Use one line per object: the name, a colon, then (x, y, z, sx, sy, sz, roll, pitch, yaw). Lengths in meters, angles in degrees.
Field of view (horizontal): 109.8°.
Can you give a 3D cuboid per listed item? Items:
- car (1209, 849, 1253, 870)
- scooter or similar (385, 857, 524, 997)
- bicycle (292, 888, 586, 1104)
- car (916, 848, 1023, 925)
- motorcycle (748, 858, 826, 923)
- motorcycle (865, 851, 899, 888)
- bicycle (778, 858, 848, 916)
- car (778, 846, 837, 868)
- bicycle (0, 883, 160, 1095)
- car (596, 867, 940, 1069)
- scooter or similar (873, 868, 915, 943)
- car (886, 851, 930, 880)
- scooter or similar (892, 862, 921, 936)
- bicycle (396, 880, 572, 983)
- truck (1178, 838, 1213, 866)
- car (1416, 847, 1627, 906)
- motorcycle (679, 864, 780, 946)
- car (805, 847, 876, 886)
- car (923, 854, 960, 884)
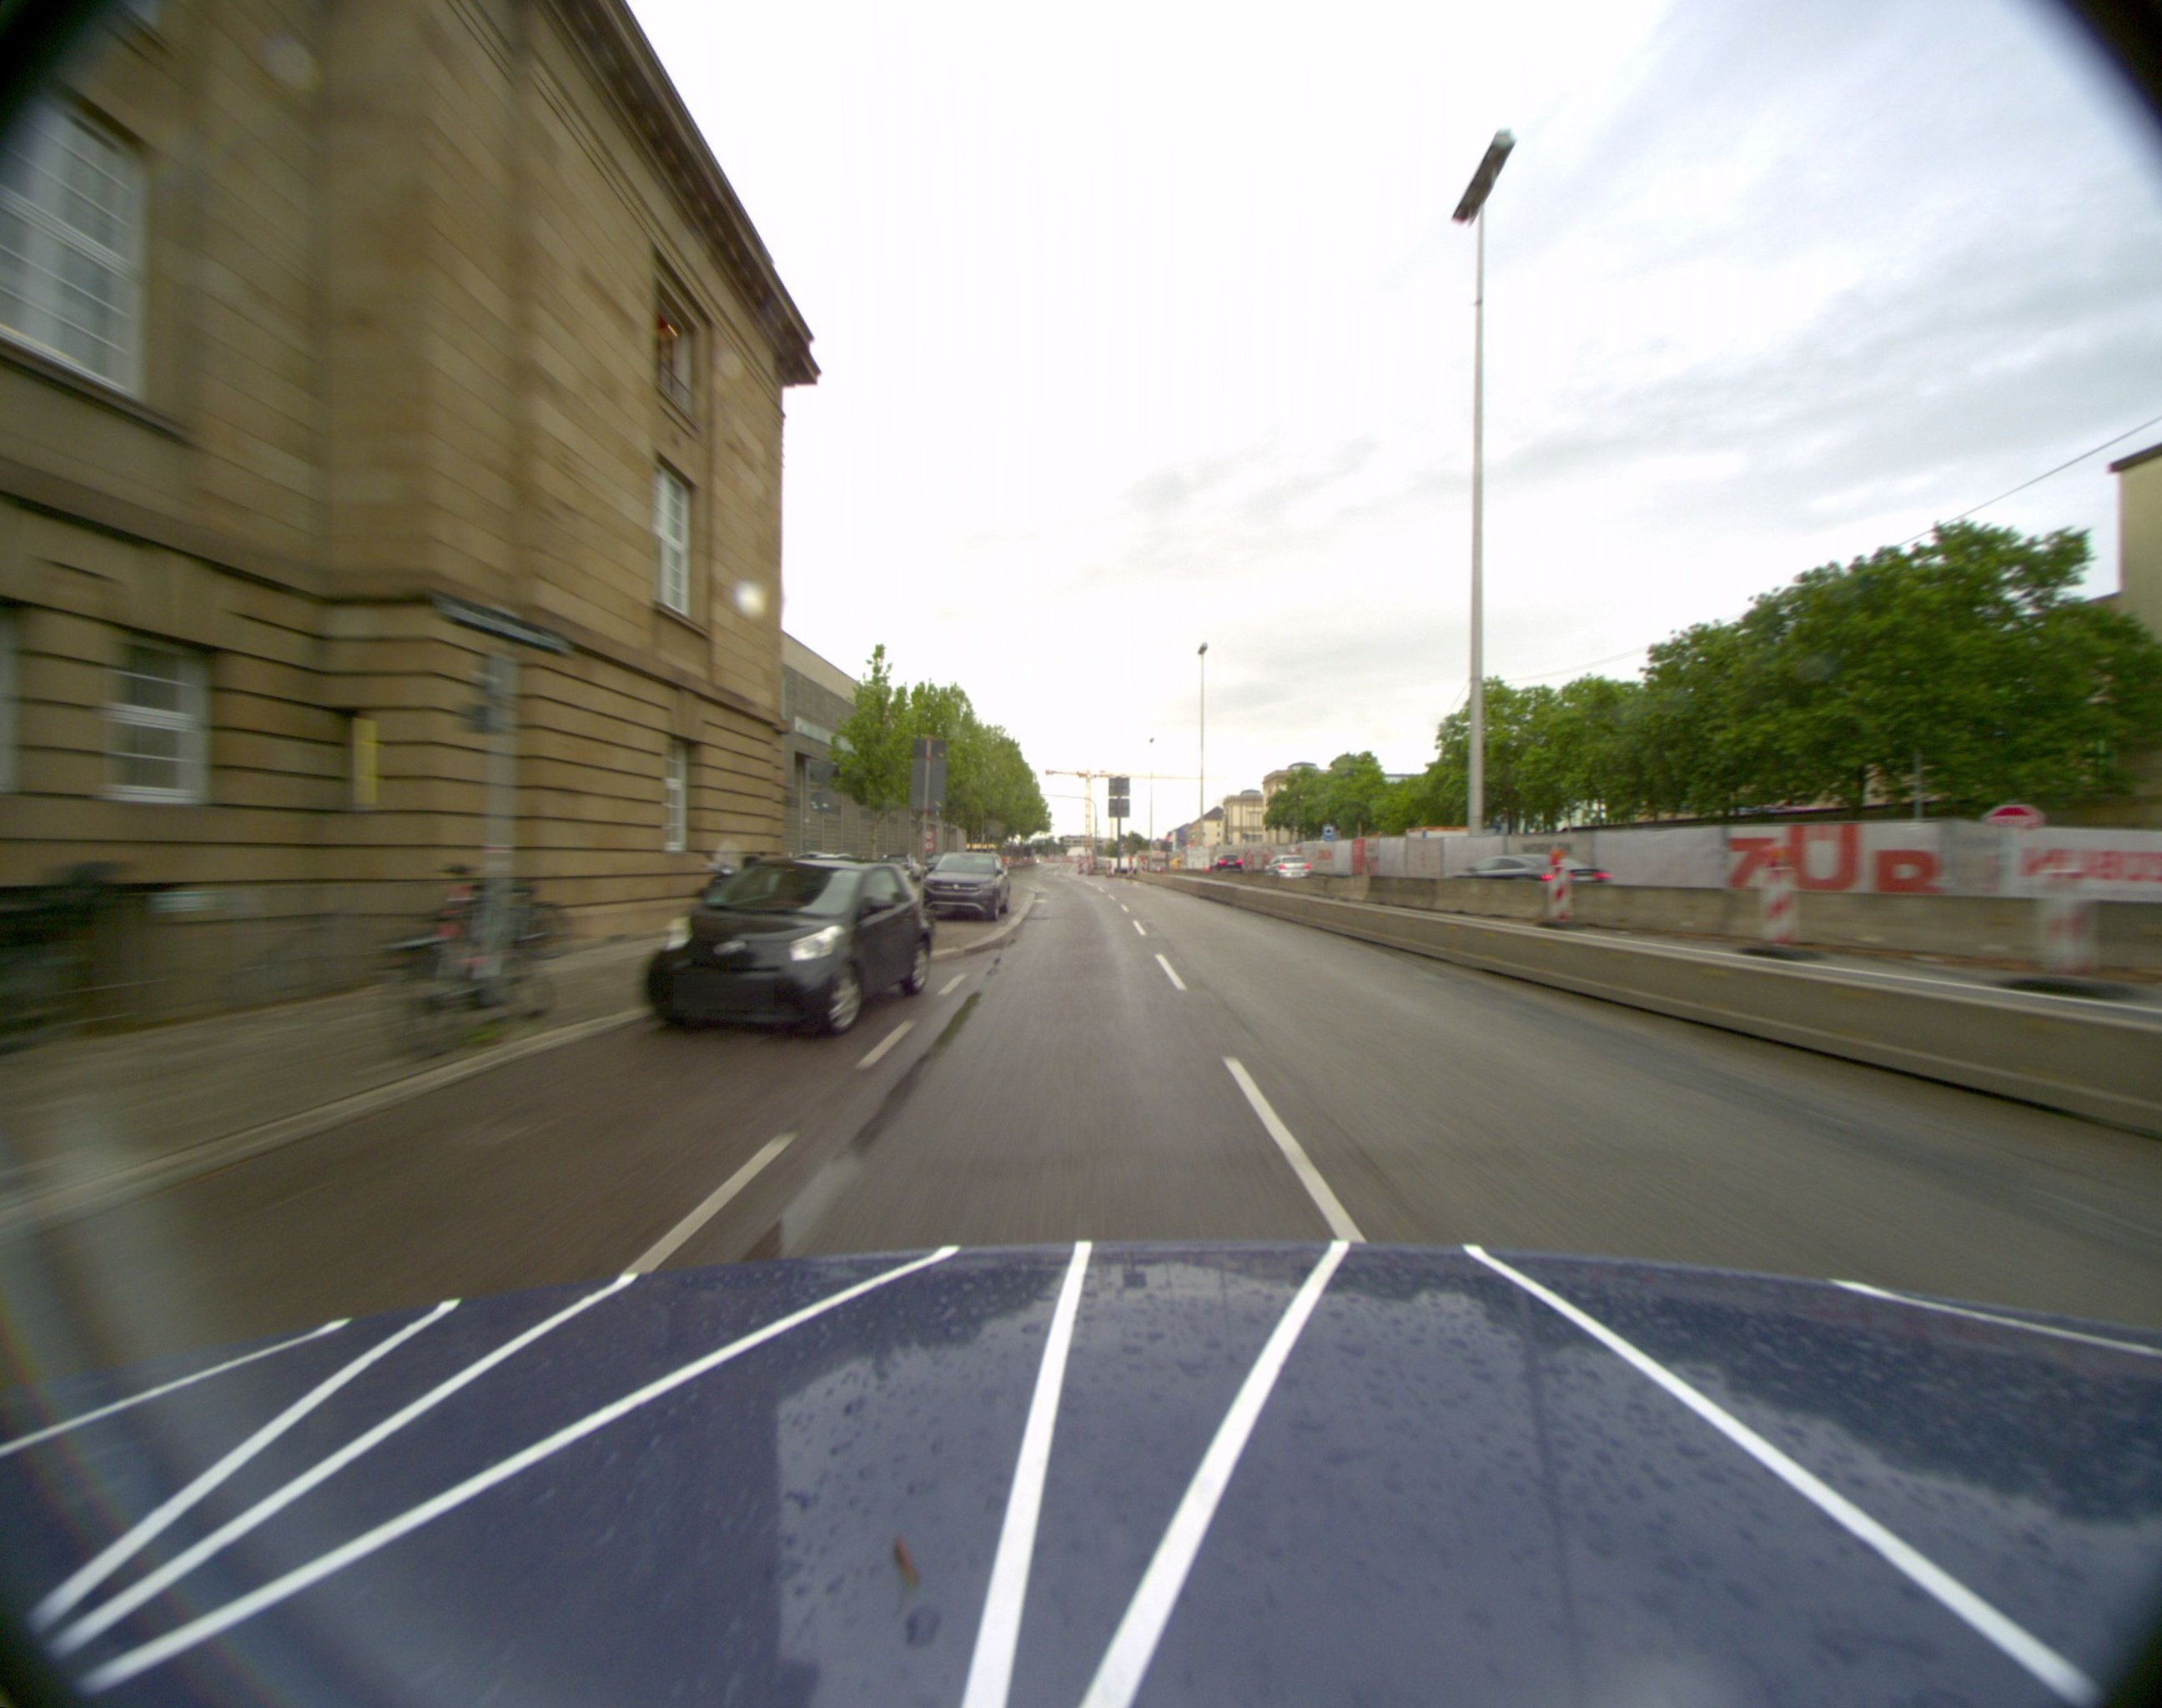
car: (11.158, 0.410, 56.893, 1.926, 1.521, 4.758, 0, 0, -6)
scooter or similar: (-6.954, 0.759, 8.502, 0.414, 1.409, 1.268, 1, 1, 6)
bicycle: (-4.615, 0.926, 5.696, 0.778, 1.211, 1.963, 1, 1, -9)
car: (-2.579, 0.692, 18.577, 1.876, 1.609, 4.404, 1, 0, 1)
motorcycle: (-6.245, 0.744, 16.256, 0.808, 1.291, 1.799, 0, 1, 5)
motorcycle: (-11.291, 0.858, 43.186, 0.750, 1.893, 2.590, -15, 1, 1)
bicycle: (-6.567, 0.774, 18.749, 1.105, 1.309, 1.858, -1, 1, -2)
car: (-20.543, 0.223, 57.162, 3.847, 1.570, 1.778, 1, 1, 1)
bicycle: (-7.053, 0.859, 4.645, 0.732, 1.261, 1.758, 0, 1, -3)
car: (-2.703, 0.888, 7.374, 1.762, 1.406, 3.153, 0, 1, 7)
scooter or similar: (-3.264, 0.870, 13.330, 0.434, 1.210, 1.122, 2, 1, -1)
car: (-9.757, 0.605, 43.020, 1.585, 1.528, 3.021, 1, 1, 4)
scooter or similar: (-3.284, 0.817, 14.331, 0.435, 1.312, 1.076, -1, 1, -9)
bicycle: (-7.224, 0.890, 9.315, 0.419, 1.044, 1.773, 0, 1, 14)
truck: (11.317, -0.209, 75.495, 2.404, 2.703, 7.354, 0, 0, 0)
car: (10.896, 0.512, 19.291, 1.781, 1.255, 4.761, -2, 0, -15)
motorcycle: (-6.328, 0.869, 13.827, 0.668, 1.318, 2.135, 0, 1, 5)
car: (-13.349, 0.754, 42.500, 1.959, 1.672, 4.499, -5, -6, 7)
car: (-7.556, 0.785, 41.384, 1.692, 1.486, 3.618, 0, 2, -6)
